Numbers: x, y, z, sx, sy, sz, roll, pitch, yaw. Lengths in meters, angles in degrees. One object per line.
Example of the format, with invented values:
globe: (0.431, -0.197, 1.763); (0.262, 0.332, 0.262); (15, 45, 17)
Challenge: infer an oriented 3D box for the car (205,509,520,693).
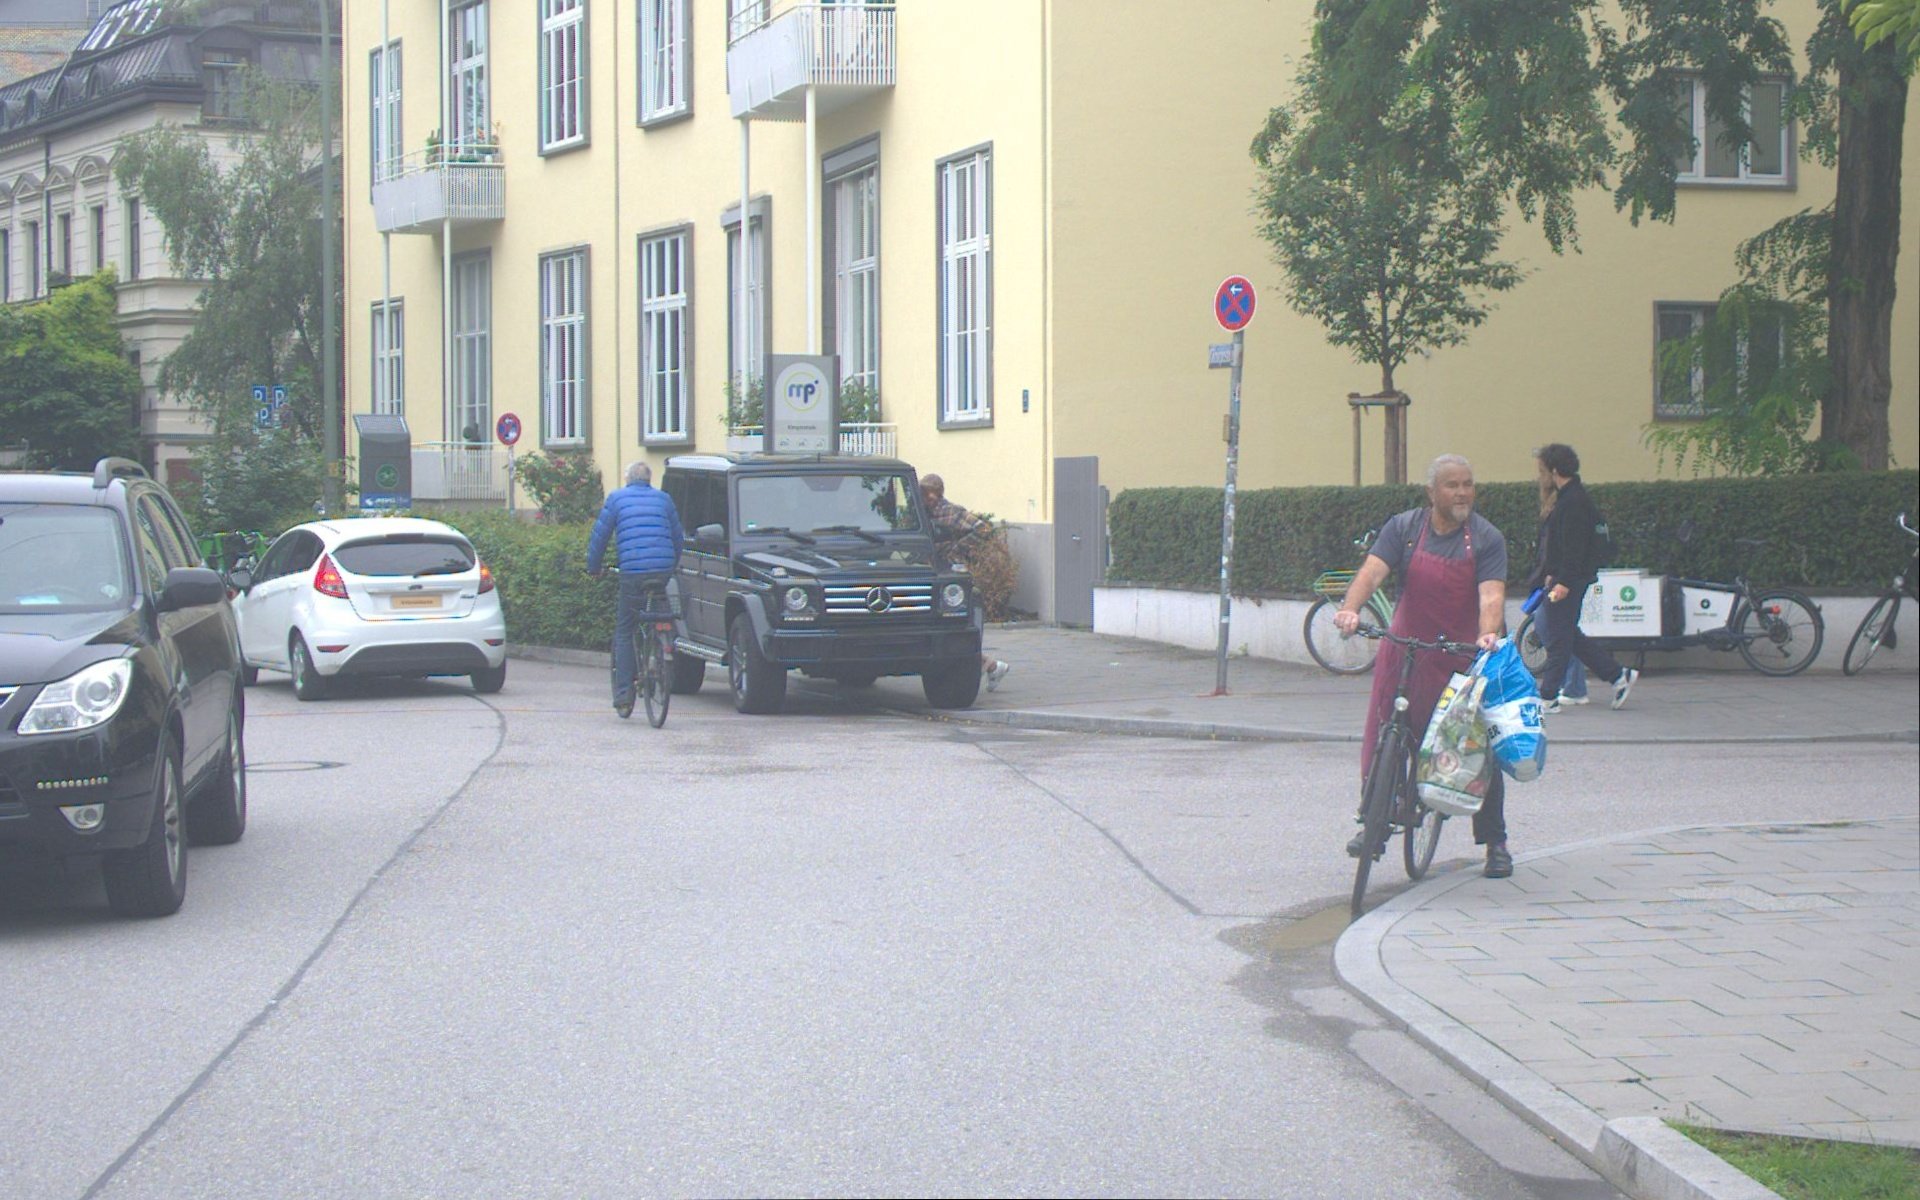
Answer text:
car: (-5.078, -0.043, 28.865); (1.747, 1.401, 3.728); (-1, 2, -24)

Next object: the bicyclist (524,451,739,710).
bicyclist: (-2.304, -0.159, 24.091); (1.214, 1.758, 0.915); (1, 3, 44)

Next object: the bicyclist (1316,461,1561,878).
bicyclist: (1.897, 0.250, 13.764); (0.875, 1.603, 1.049); (0, 2, 3)

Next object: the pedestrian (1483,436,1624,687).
pedestrian: (4.204, -0.283, 24.386); (0.826, 1.740, 0.741); (-1, 2, -4)

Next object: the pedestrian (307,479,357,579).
pedestrian: (-10.759, -1.224, 58.870); (0.631, 1.678, 0.698); (-2, 2, -26)

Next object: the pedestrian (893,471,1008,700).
pedestrian: (-0.081, -0.129, 27.093); (0.848, 1.751, 0.954); (-1, 2, -2)

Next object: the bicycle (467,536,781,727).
bicycle: (-2.386, 0.190, 24.192); (2.320, 1.248, 0.921); (2, 3, 45)

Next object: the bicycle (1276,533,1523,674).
bicycle: (3.495, 0.037, 27.434); (1.948, 1.081, 0.528); (-1, 0, 40)

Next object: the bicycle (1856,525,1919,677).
bicycle: (7.650, -0.004, 25.910); (1.682, 1.126, 0.460); (-1, 2, -4)

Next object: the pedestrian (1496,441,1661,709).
pedestrian: (4.248, -0.179, 23.654); (0.989, 1.803, 0.660); (-1, 2, -2)

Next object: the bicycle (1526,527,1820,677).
bicycle: (5.449, 0.011, 26.282); (2.169, 1.111, 0.640); (0, 2, 13)

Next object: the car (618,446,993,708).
car: (-1.332, -0.255, 27.315); (1.873, 1.881, 4.620); (-1, 2, -17)

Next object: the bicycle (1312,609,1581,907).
bicycle: (1.919, 0.591, 13.855); (0.876, 1.016, 2.191); (0, 2, 3)

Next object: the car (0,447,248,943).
car: (-4.100, 0.257, 14.090); (1.993, 1.713, 4.616); (-1, 2, -8)
